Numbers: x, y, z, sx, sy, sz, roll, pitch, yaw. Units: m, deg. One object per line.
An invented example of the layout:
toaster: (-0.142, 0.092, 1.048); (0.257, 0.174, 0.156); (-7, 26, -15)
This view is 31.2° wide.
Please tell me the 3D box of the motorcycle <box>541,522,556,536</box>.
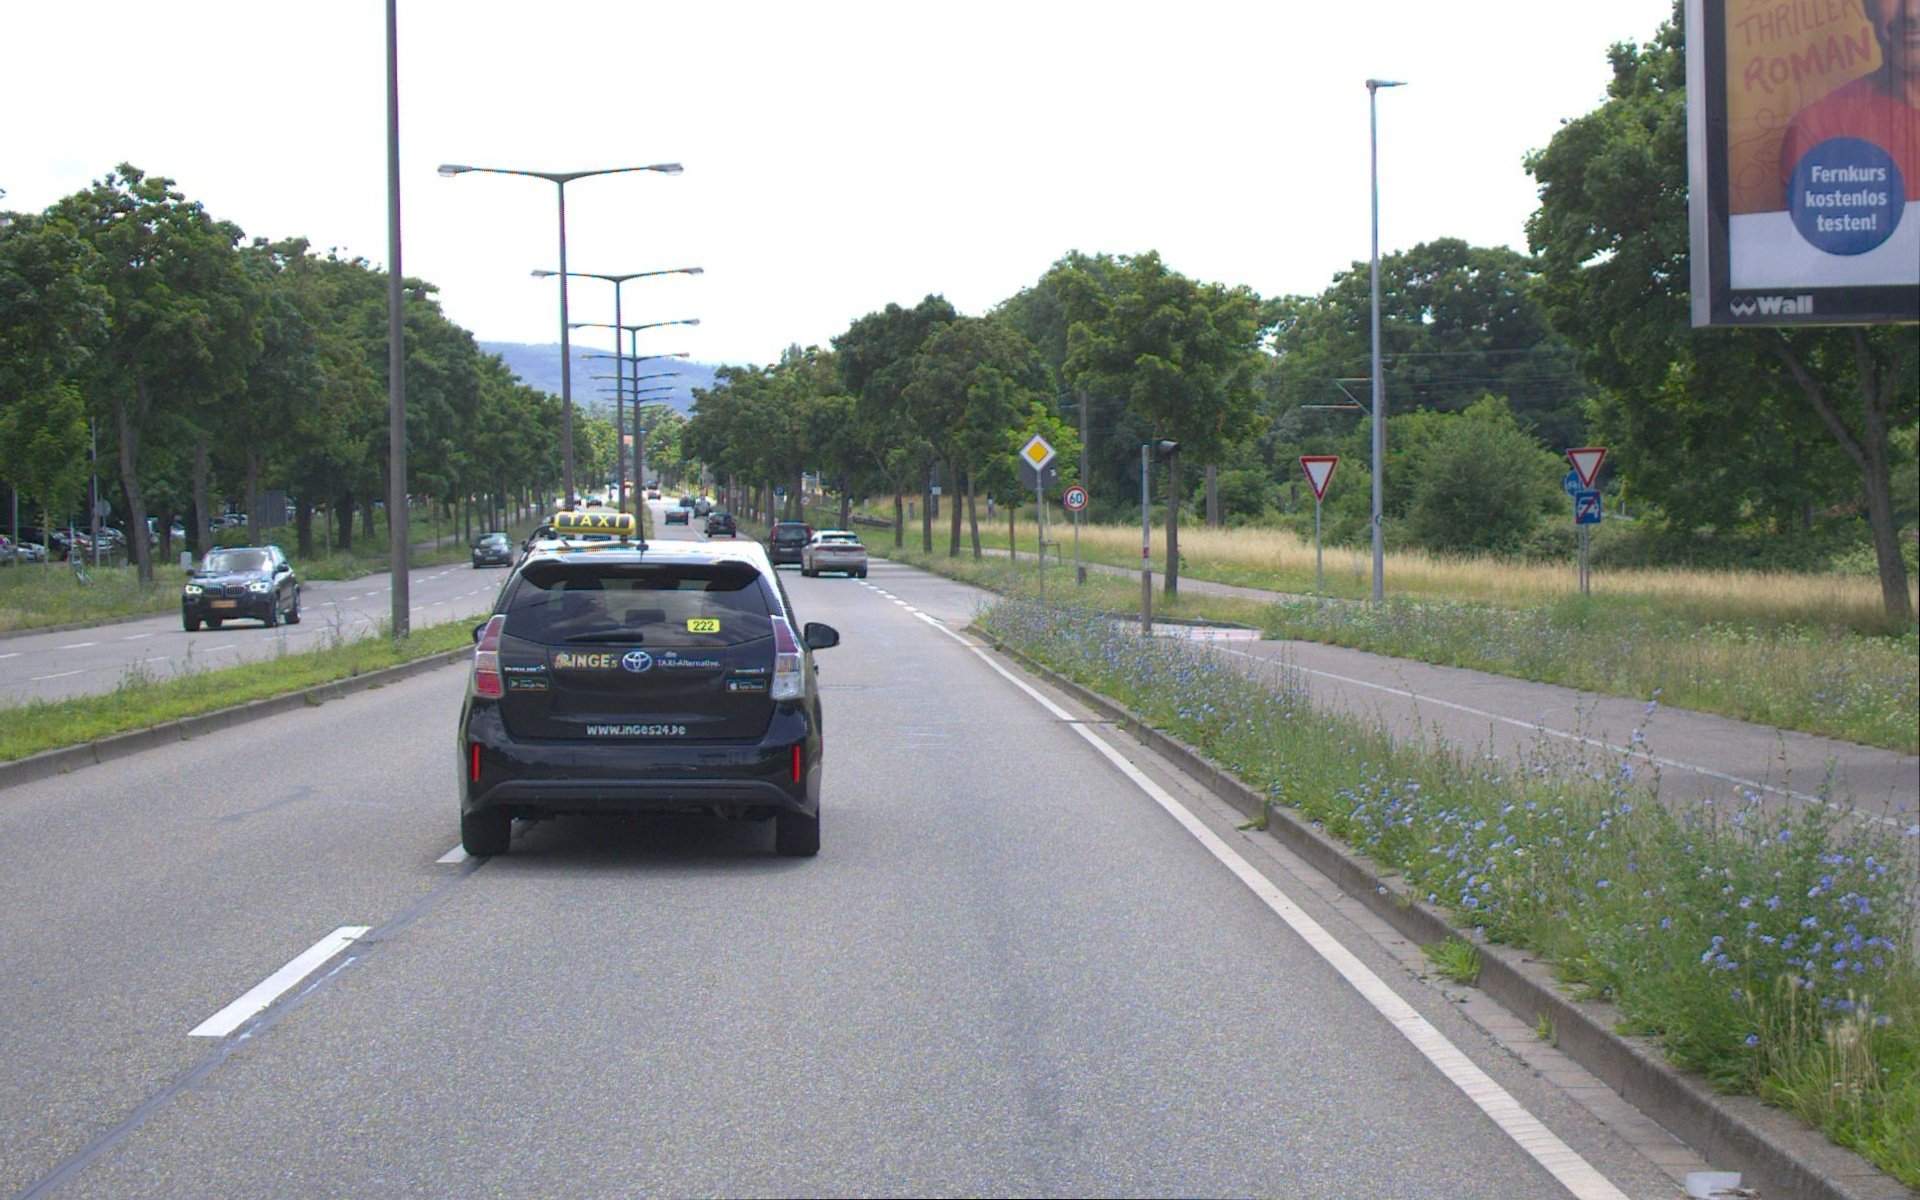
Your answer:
motorcycle: (-25.359, -4.380, 211.922); (0.751, 0.769, 2.672); (1, 2, -4)

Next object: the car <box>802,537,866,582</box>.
car: (-4.527, -1.467, 122.863); (1.993, 1.503, 4.001); (0, 2, -6)

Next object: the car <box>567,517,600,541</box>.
car: (-23.479, -4.424, 214.401); (1.810, 1.393, 4.735); (-1, 2, -4)

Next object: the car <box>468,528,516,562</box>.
car: (-19.913, -2.328, 146.112); (1.700, 1.422, 3.676); (-1, 1, -13)

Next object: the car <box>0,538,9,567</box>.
car: (-48.602, -2.327, 167.889); (3.785, 1.383, 1.786); (1, 2, 0)

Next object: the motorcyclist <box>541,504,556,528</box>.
motorcyclist: (-25.329, -5.176, 211.779); (0.827, 1.409, 1.329); (1, 2, -4)

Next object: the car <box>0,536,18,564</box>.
car: (-49.702, -2.531, 173.579); (3.785, 1.383, 1.786); (1, 2, 0)

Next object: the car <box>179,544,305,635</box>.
car: (-15.288, -0.237, 73.388); (1.876, 1.784, 4.729); (-3, 1, -3)

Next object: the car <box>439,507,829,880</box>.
car: (-1.640, 0.381, 17.870); (1.779, 1.678, 4.001); (1, 2, -4)

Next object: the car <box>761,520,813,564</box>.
car: (-6.891, -2.297, 136.336); (1.993, 1.656, 4.001); (1, 2, -3)
